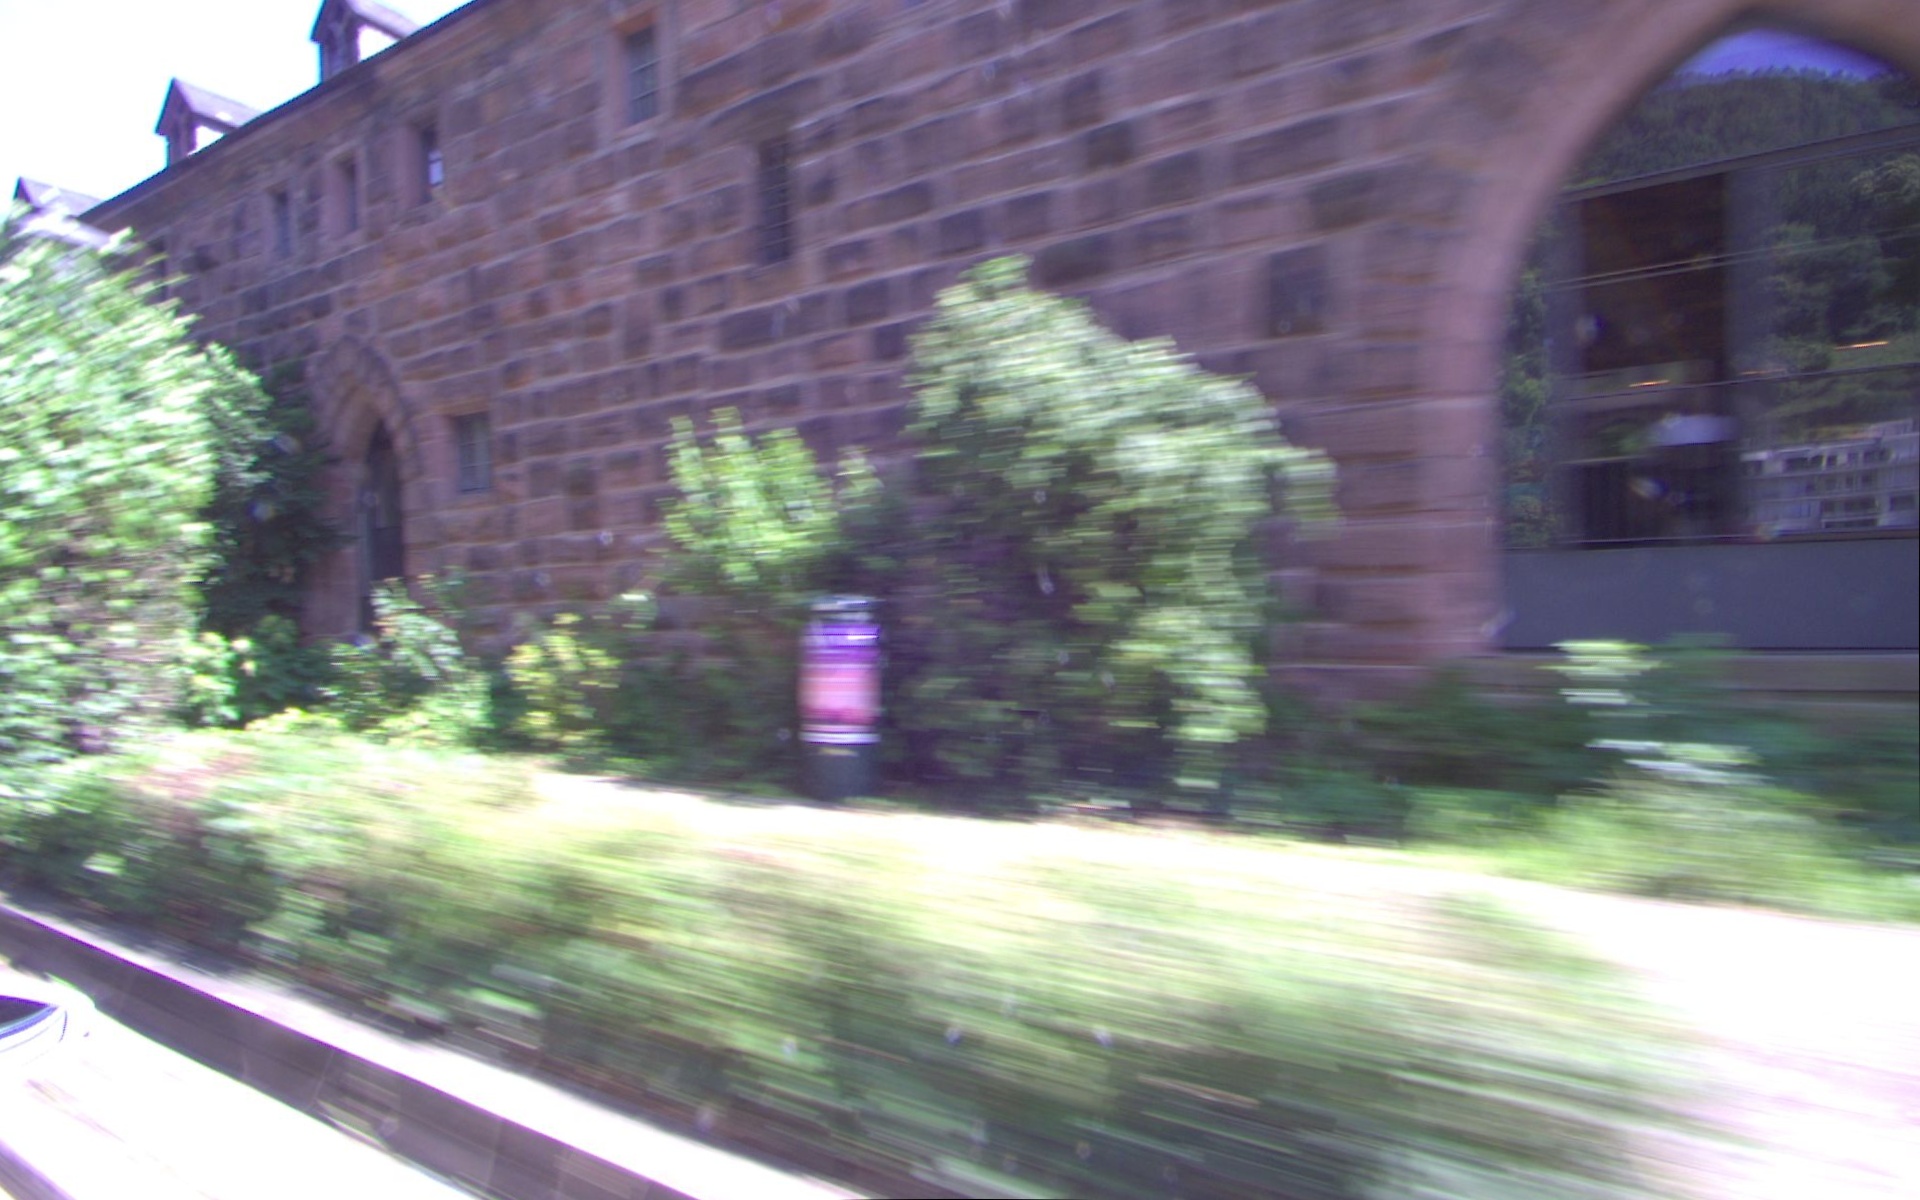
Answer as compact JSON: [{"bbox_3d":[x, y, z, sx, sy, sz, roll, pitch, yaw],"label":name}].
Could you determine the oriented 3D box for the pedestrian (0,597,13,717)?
[{"bbox_3d":[-13.784,0.791,13.961,0.695,1.673,0.697,-1,-2,34],"label":"pedestrian"}]
